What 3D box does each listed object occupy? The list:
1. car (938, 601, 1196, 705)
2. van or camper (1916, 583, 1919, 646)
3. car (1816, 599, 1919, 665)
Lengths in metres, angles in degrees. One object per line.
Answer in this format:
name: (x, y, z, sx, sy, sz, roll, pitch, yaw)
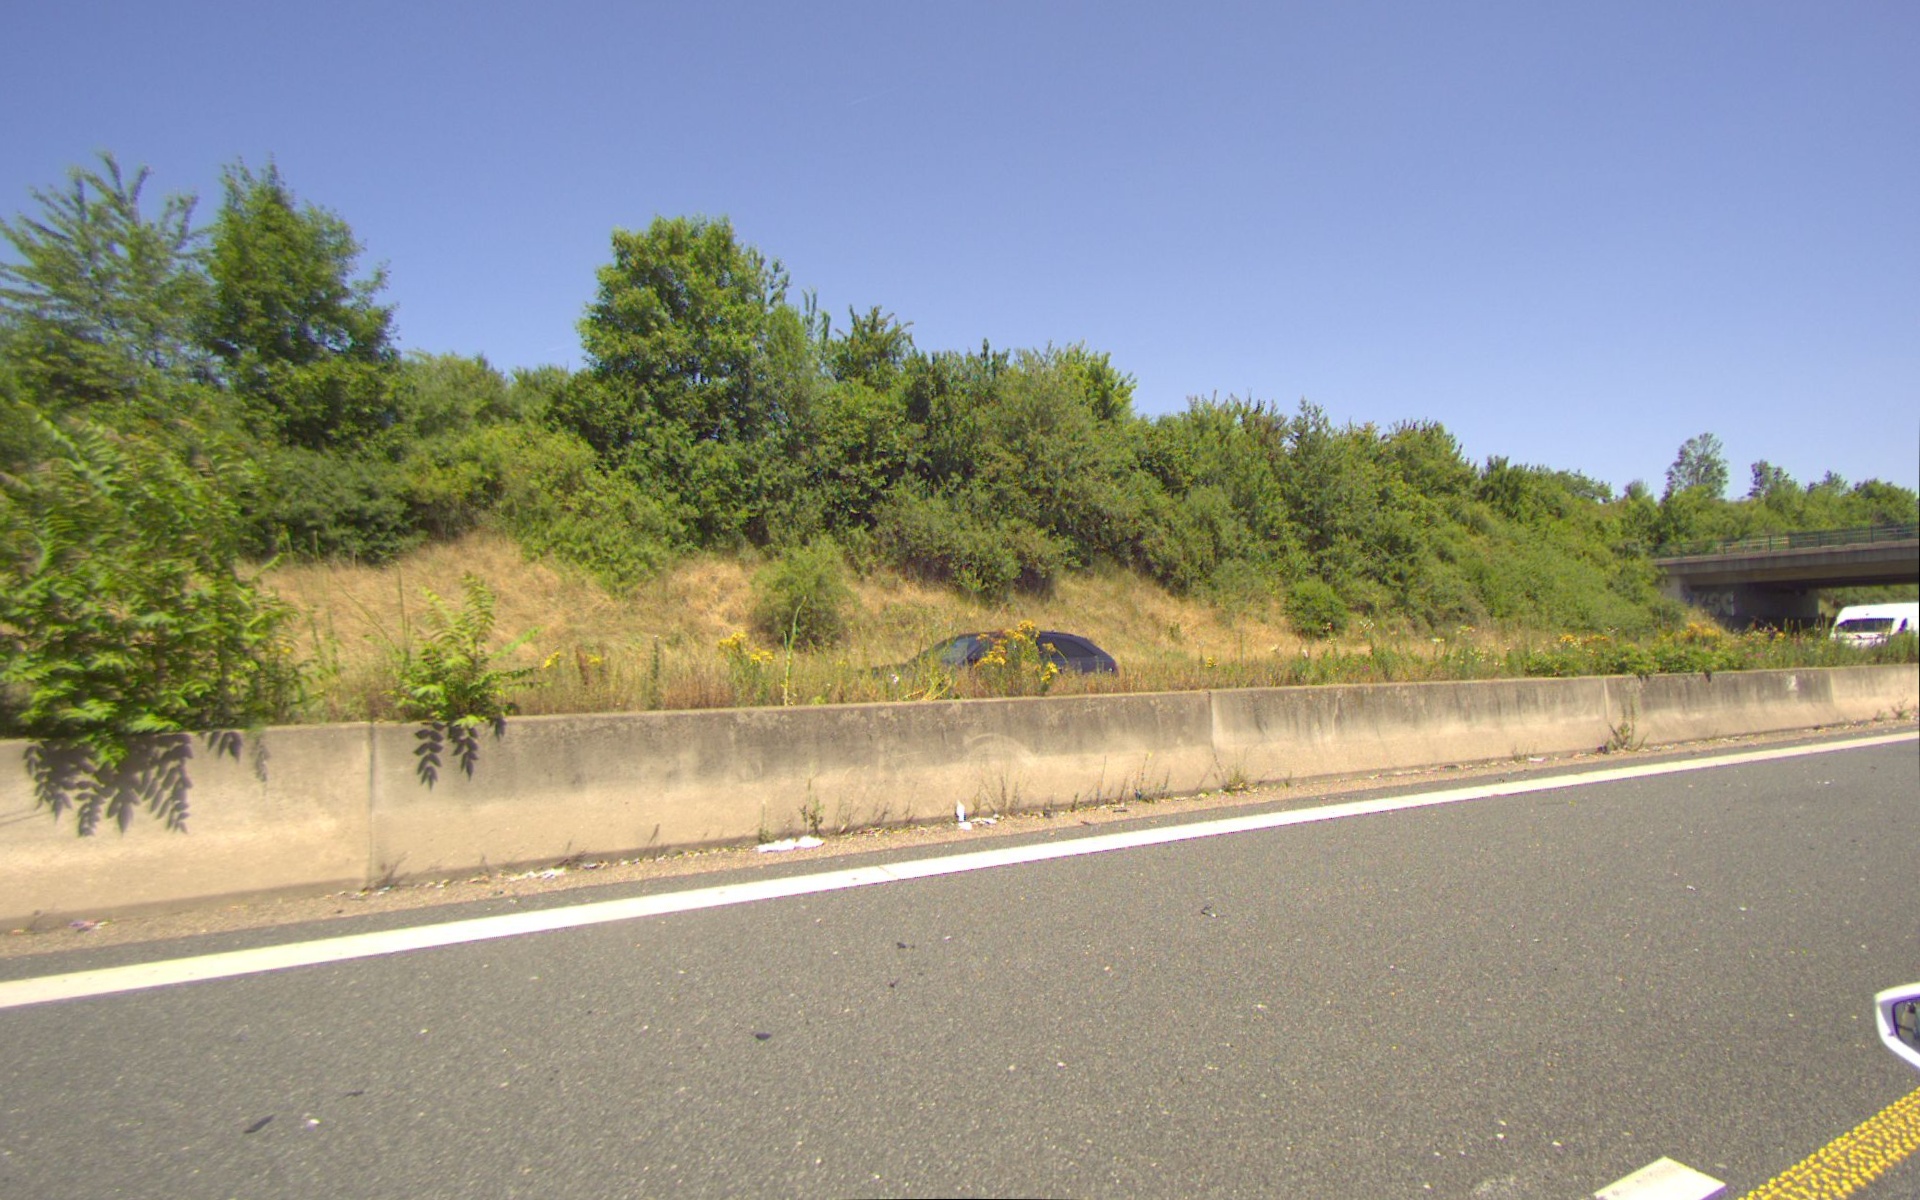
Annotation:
car: (1.785, 0.803, 16.506, 3.972, 1.526, 1.753, 1, 0, -31)
van or camper: (52.311, 0.788, 51.958, 6.160, 3.229, 2.557, 1, 0, -31)
car: (33.952, 1.153, 37.028, 5.252, 2.227, 2.101, 1, 1, -32)
